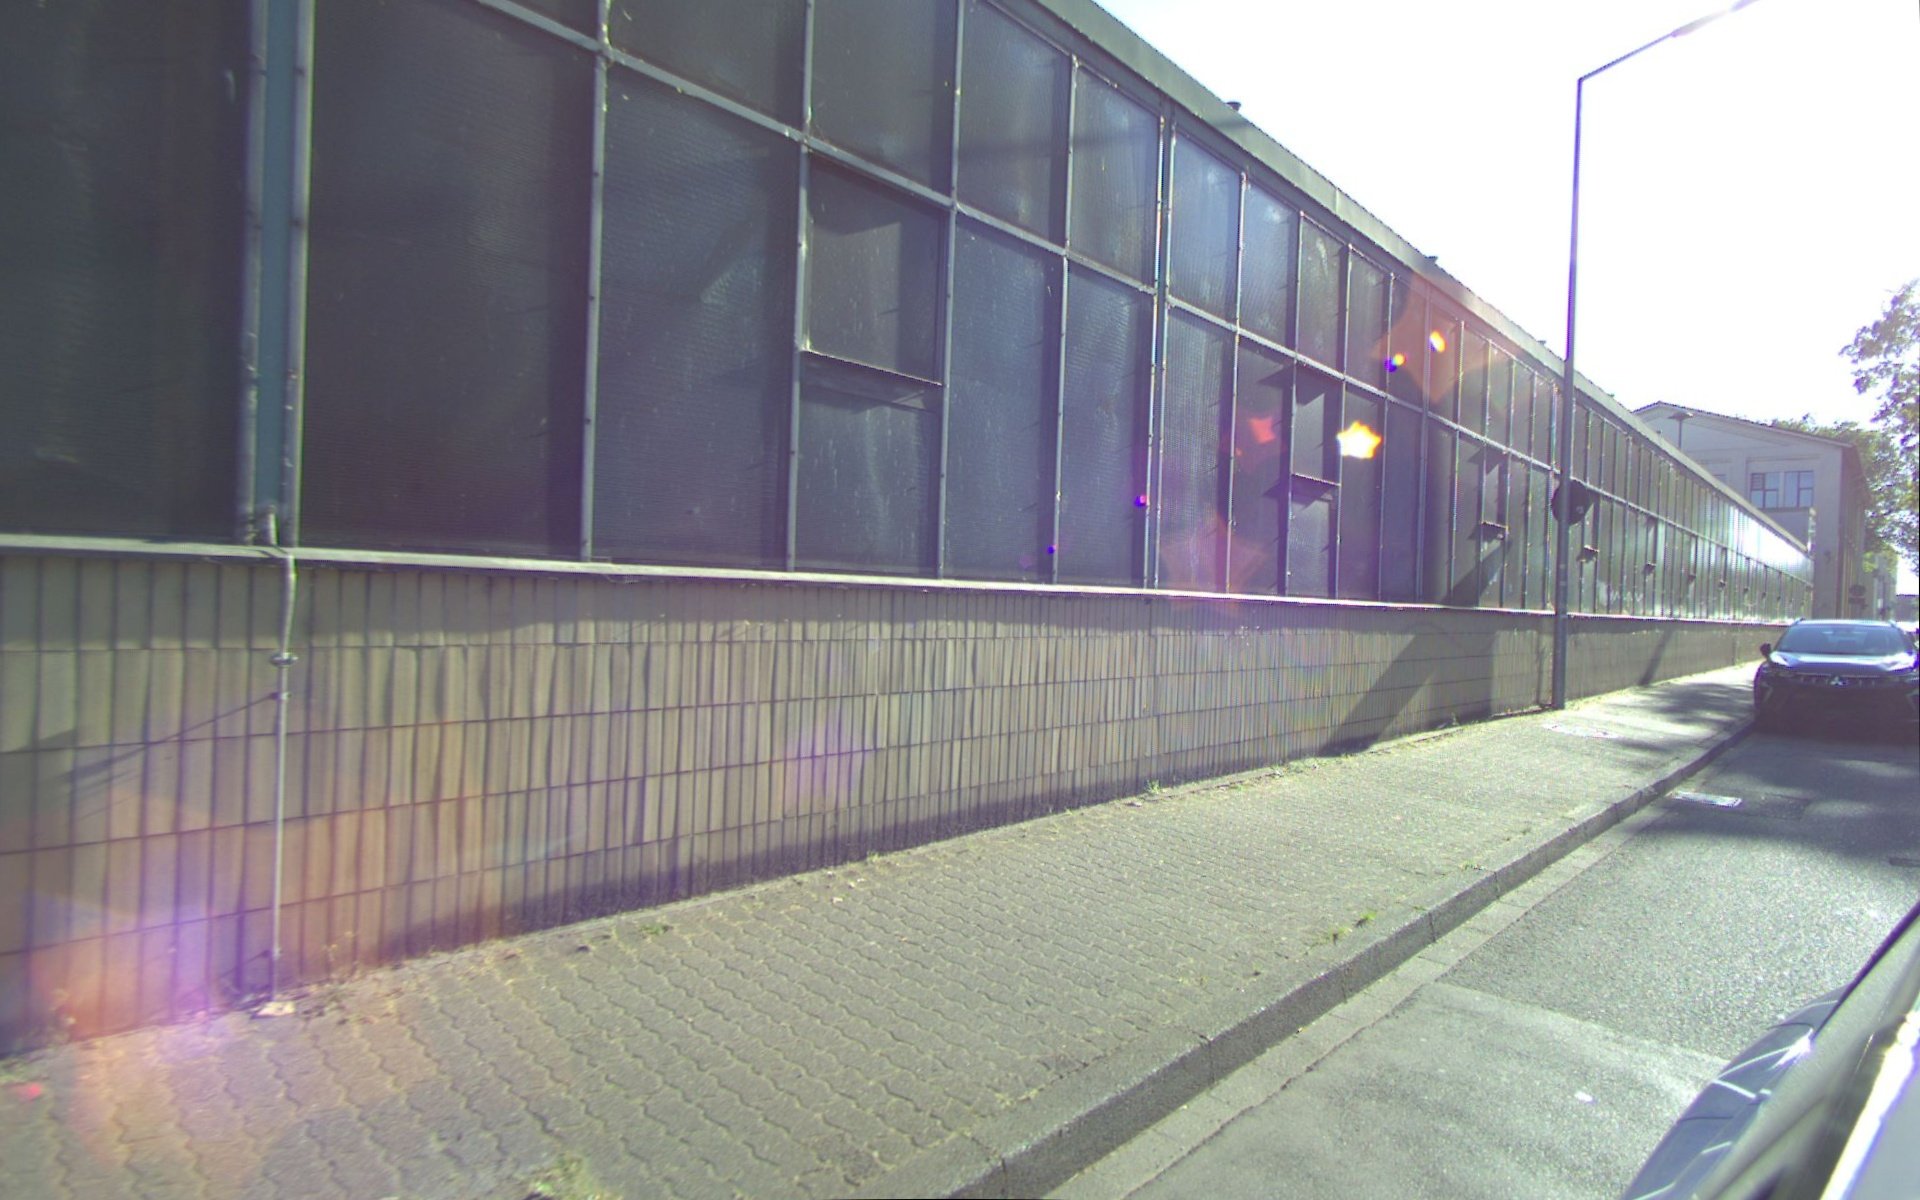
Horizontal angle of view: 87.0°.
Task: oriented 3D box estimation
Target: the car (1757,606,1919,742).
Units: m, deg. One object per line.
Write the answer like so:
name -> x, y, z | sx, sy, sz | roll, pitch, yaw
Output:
car -> 12.634, 0.920, 14.310 | 1.806, 1.607, 4.336 | 1, 0, 43

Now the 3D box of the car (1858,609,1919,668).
car -> 28.555, 1.131, 30.817 | 1.750, 1.655, 3.940 | 2, 1, 42

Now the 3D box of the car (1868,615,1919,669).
car -> 31.613, 1.367, 33.779 | 1.751, 1.655, 4.240 | 3, 1, 44

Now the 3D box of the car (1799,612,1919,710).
car -> 16.301, 0.990, 18.004 | 1.751, 1.510, 4.546 | 1, 0, 44
